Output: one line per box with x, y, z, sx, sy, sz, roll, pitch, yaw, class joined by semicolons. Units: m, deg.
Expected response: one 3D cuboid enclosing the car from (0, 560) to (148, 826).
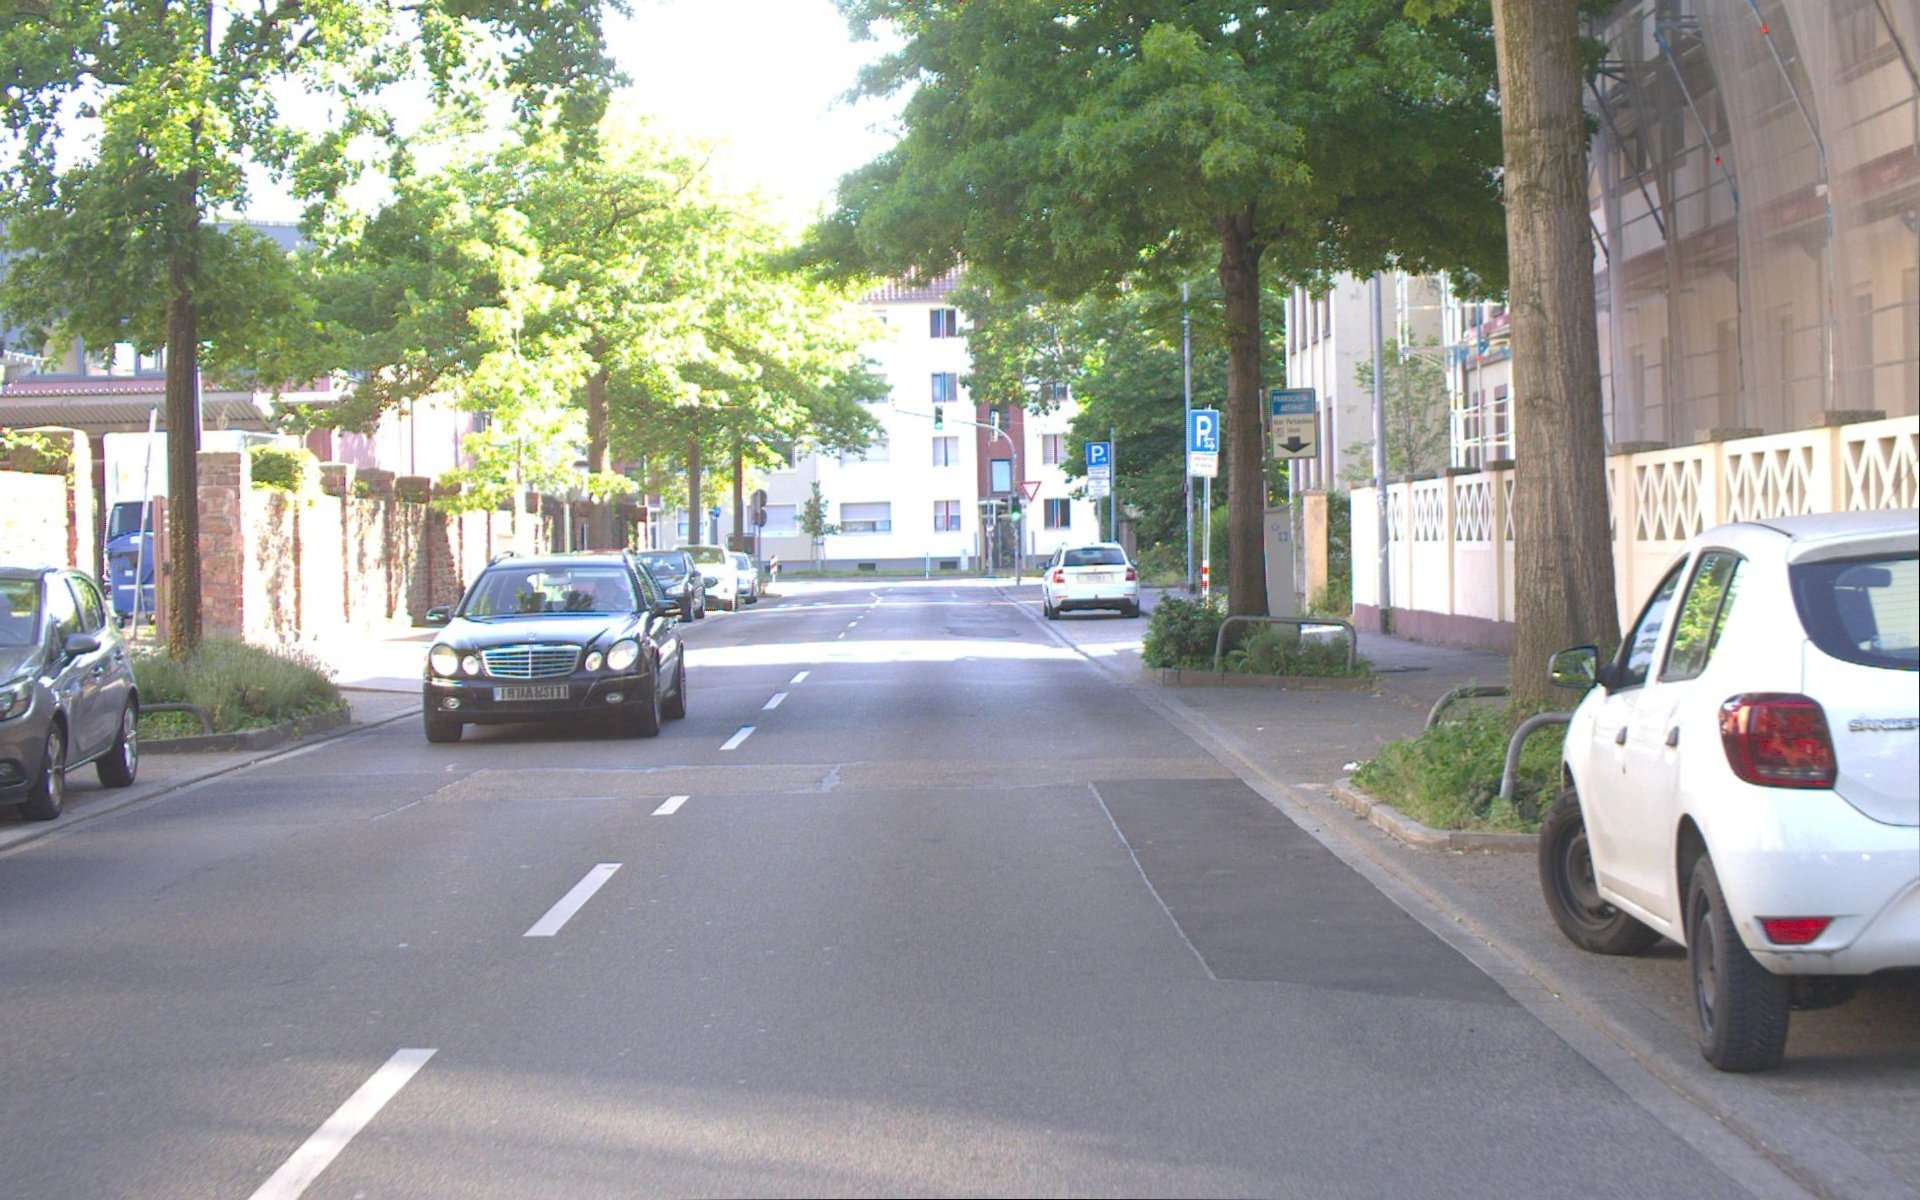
-6.060;0.486;20.755;1.686;1.417;3.839;1;1;-5;car

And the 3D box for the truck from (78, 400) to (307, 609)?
-14.346;-1.775;64.804;2.732;3.698;7.429;1;1;-1;truck

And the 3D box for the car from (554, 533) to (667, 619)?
-6.133;-0.450;60.659;1.609;1.454;3.708;1;1;0;car

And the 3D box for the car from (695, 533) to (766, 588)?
-6.378;-1.130;95.802;1.726;1.470;4.478;1;1;-1;car

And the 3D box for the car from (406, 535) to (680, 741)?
-3.289;0.246;27.790;1.821;1.431;3.970;-2;2;-2;car

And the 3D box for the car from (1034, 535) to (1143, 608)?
2.474;-0.574;67.051;1.832;1.318;4.496;-2;1;-1;car

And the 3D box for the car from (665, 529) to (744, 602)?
-6.201;-0.863;83.738;1.720;1.678;4.351;-1;1;-2;car

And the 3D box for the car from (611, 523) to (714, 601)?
-6.306;-0.826;73.176;1.737;1.587;4.107;-1;1;1;car

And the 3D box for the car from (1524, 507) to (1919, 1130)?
2.878;0.494;10.640;1.724;1.505;3.992;-2;2;3;car
